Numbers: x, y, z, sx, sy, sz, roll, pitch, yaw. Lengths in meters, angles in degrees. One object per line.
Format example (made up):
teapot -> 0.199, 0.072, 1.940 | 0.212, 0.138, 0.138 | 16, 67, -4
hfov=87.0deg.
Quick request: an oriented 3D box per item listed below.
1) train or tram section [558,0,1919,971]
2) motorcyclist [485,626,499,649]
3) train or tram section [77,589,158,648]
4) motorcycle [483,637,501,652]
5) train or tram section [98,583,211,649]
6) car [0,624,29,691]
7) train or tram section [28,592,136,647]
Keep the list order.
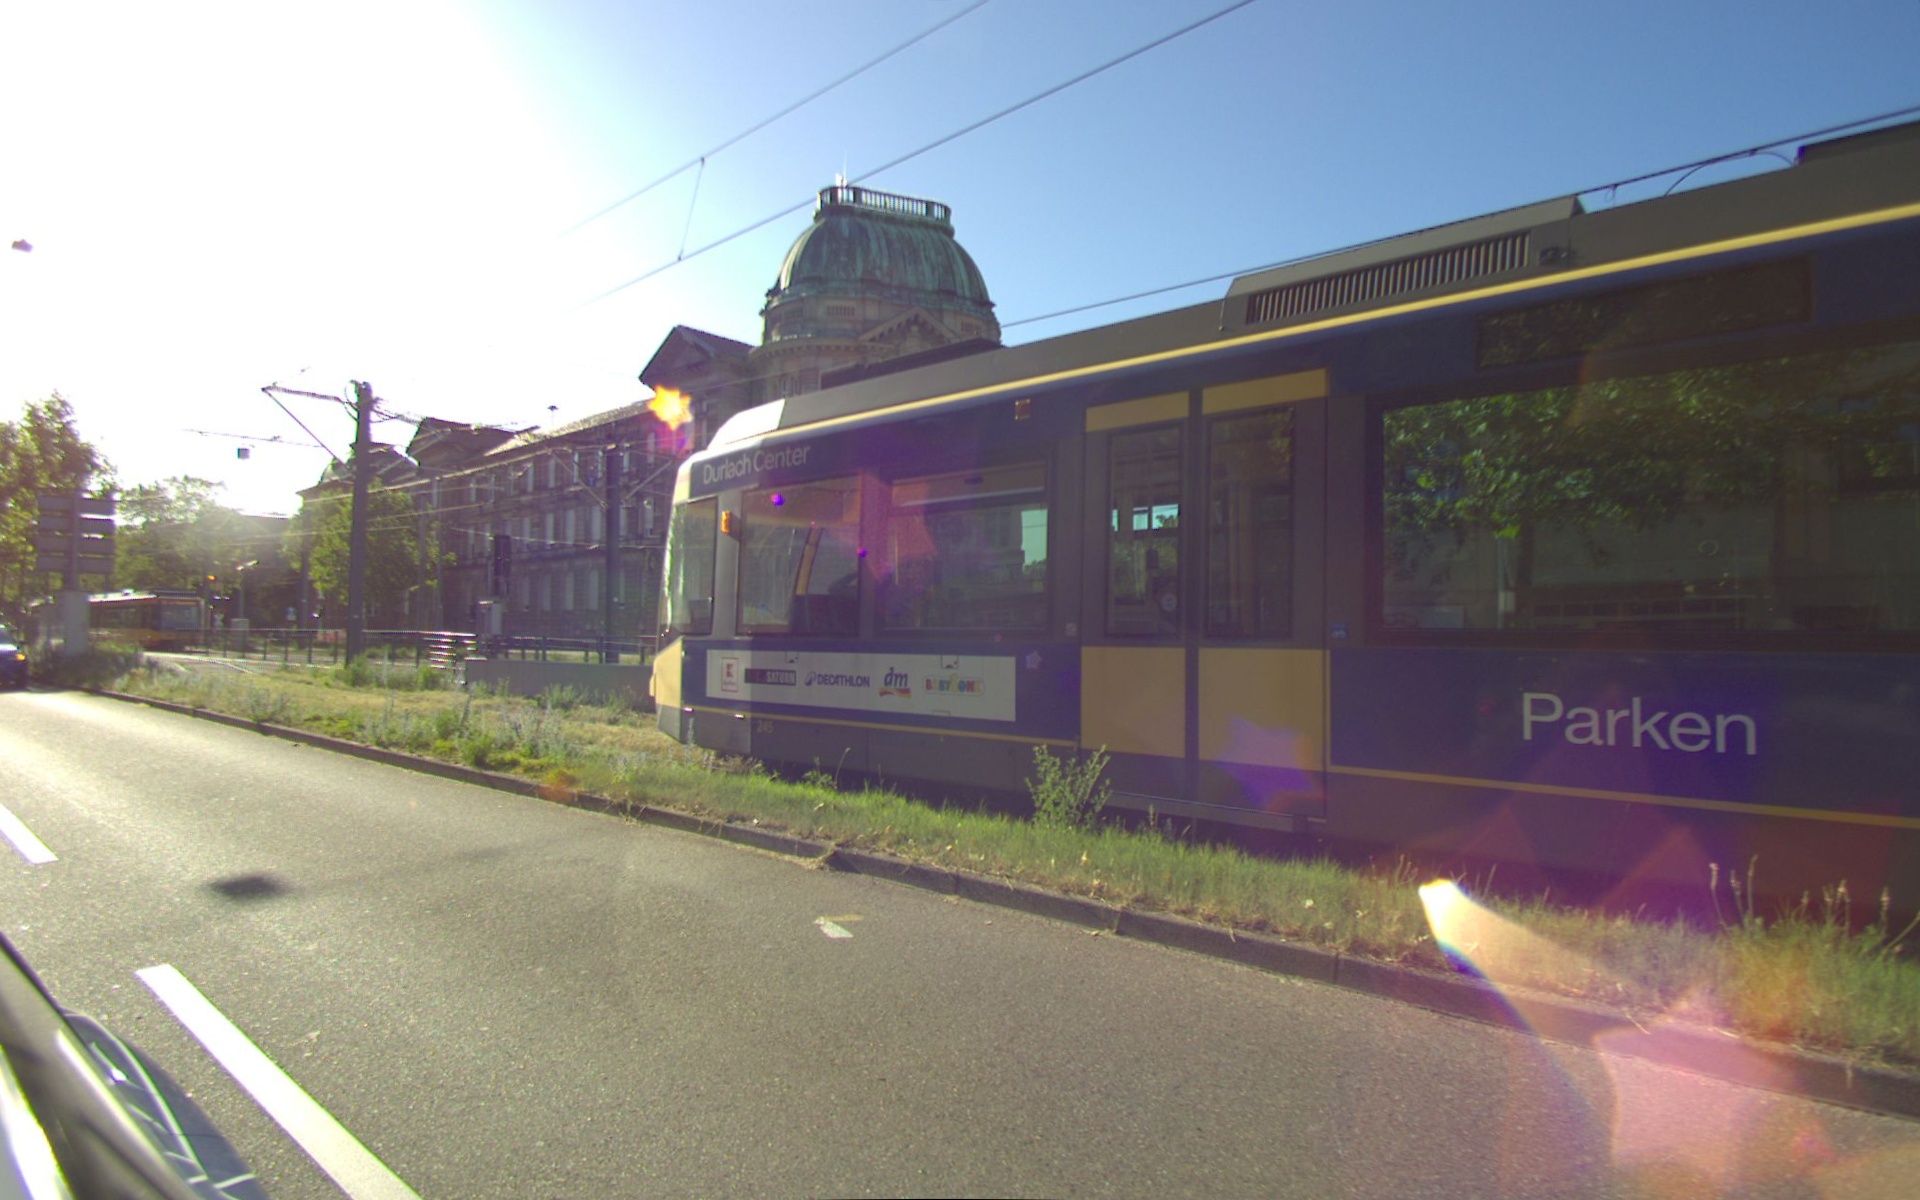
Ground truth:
train or tram section -> 2.442, -0.567, 6.364 | 14.263, 3.841, 2.899 | -1, 0, 41
motorcyclist -> -25.931, 2.080, 56.087 | 0.692, 1.267, 0.508 | -1, -1, 45
train or tram section -> -53.180, 1.166, 63.867 | 6.055, 3.510, 2.926 | -2, -1, 40
motorcycle -> -25.975, 2.459, 56.149 | 1.522, 0.789, 0.364 | -1, 0, 44
train or tram section -> -46.549, 0.963, 58.314 | 11.277, 3.510, 2.931 | -2, -1, 40
car -> -22.582, 1.296, 22.987 | 3.868, 1.459, 1.754 | -2, -2, 42
train or tram section -> -63.478, 1.483, 72.830 | 21.205, 3.510, 2.933 | -2, -1, 41
